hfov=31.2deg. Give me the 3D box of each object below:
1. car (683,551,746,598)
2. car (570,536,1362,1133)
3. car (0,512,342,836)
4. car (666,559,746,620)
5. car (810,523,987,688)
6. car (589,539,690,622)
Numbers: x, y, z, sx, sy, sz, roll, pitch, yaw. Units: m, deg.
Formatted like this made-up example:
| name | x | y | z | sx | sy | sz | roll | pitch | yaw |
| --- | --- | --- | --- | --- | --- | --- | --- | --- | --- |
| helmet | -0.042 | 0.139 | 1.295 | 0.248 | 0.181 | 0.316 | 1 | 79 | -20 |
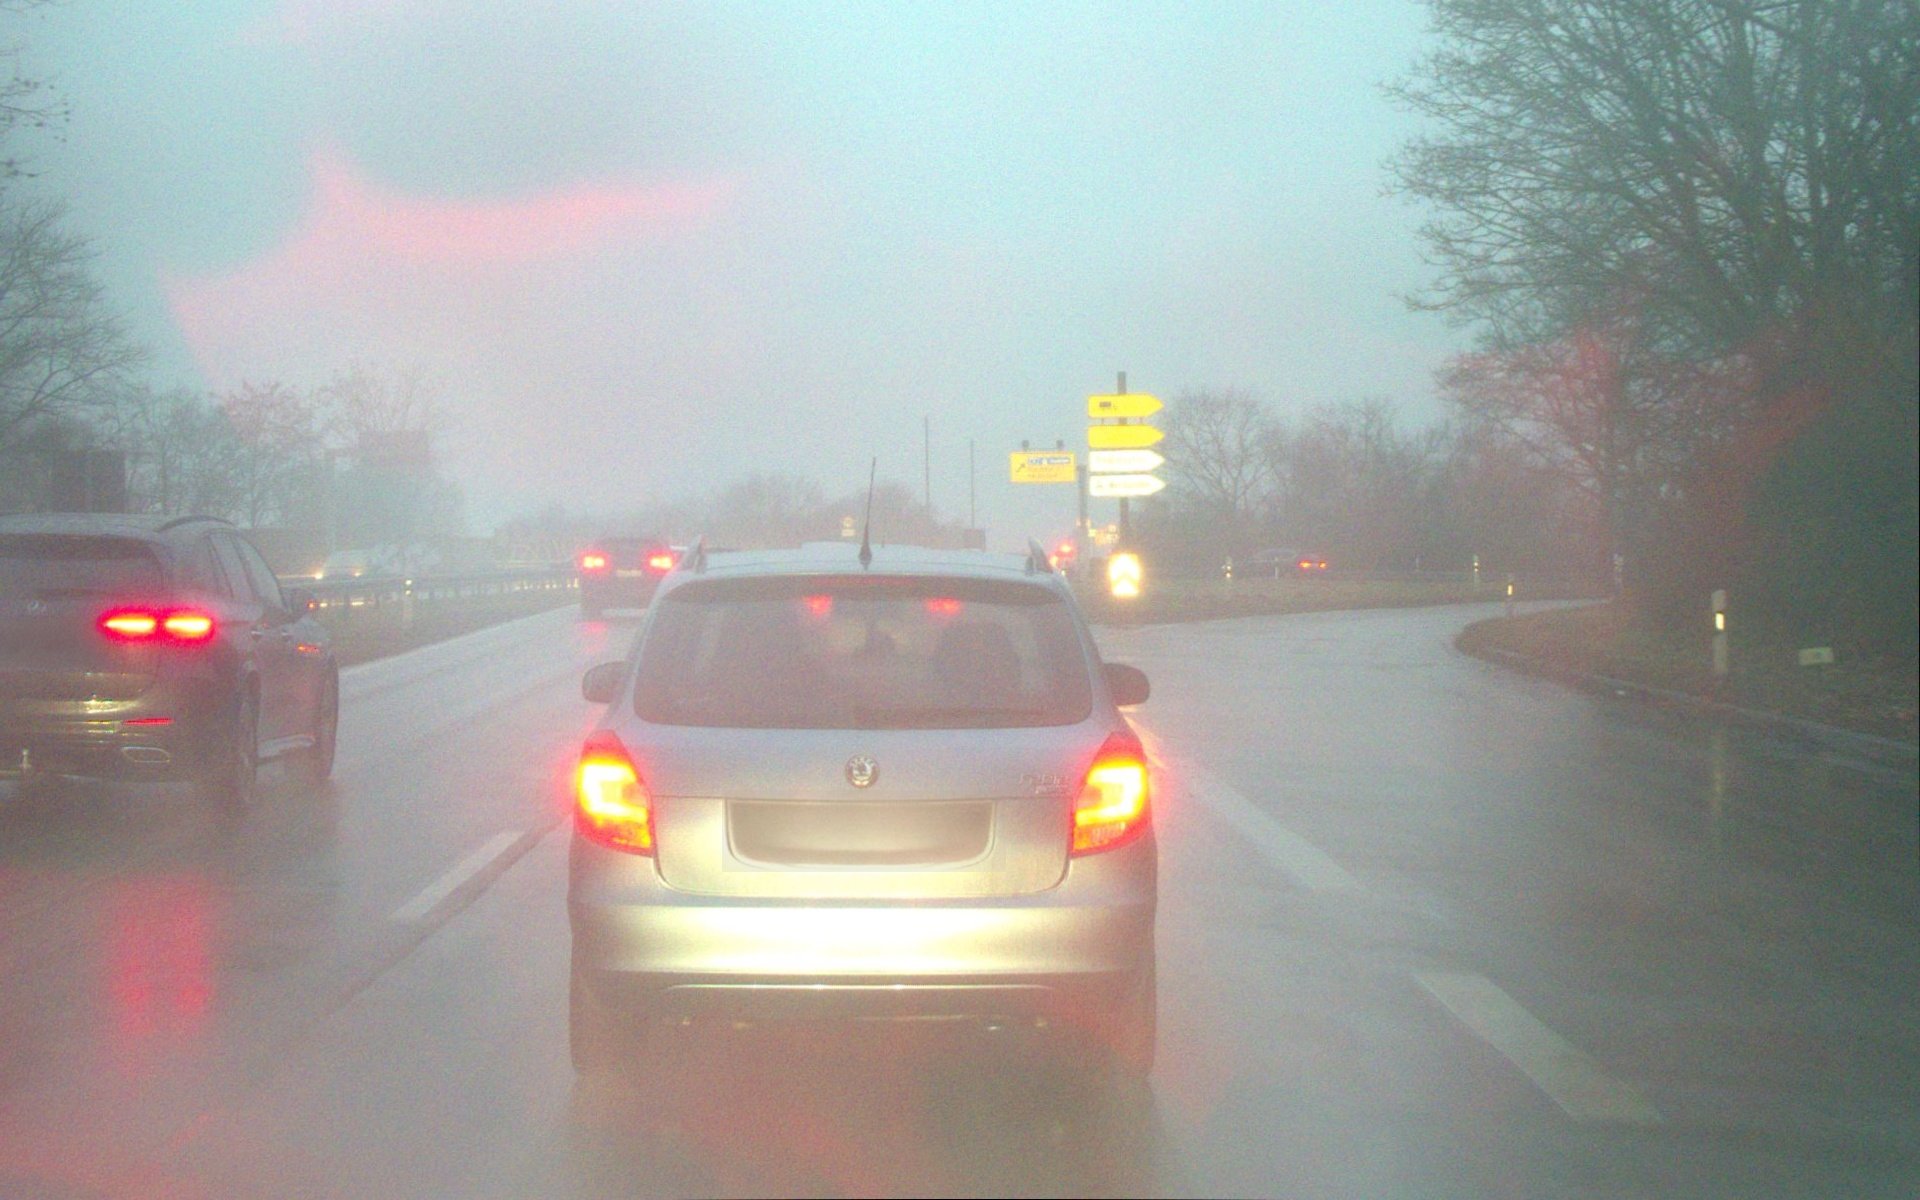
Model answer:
| name | x | y | z | sx | sy | sz | roll | pitch | yaw |
| --- | --- | --- | --- | --- | --- | --- | --- | --- | --- |
| car | -8.126 | -0.852 | 113.879 | 1.789 | 1.478 | 4.000 | -1 | 1 | 0 |
| car | 0.017 | 0.579 | 10.807 | 1.993 | 1.495 | 4.138 | -1 | 0 | 0 |
| car | -4.811 | 0.328 | 19.294 | 1.993 | 1.596 | 4.309 | 1 | 1 | -2 |
| car | -6.676 | -0.287 | 90.683 | 1.789 | 1.540 | 4.000 | -1 | 1 | 0 |
| car | -0.755 | 0.018 | 39.037 | 1.897 | 1.761 | 4.309 | 0 | 1 | -3 |
| car | -6.262 | -0.401 | 66.844 | 1.789 | 1.540 | 4.001 | 0 | 1 | -8 |
